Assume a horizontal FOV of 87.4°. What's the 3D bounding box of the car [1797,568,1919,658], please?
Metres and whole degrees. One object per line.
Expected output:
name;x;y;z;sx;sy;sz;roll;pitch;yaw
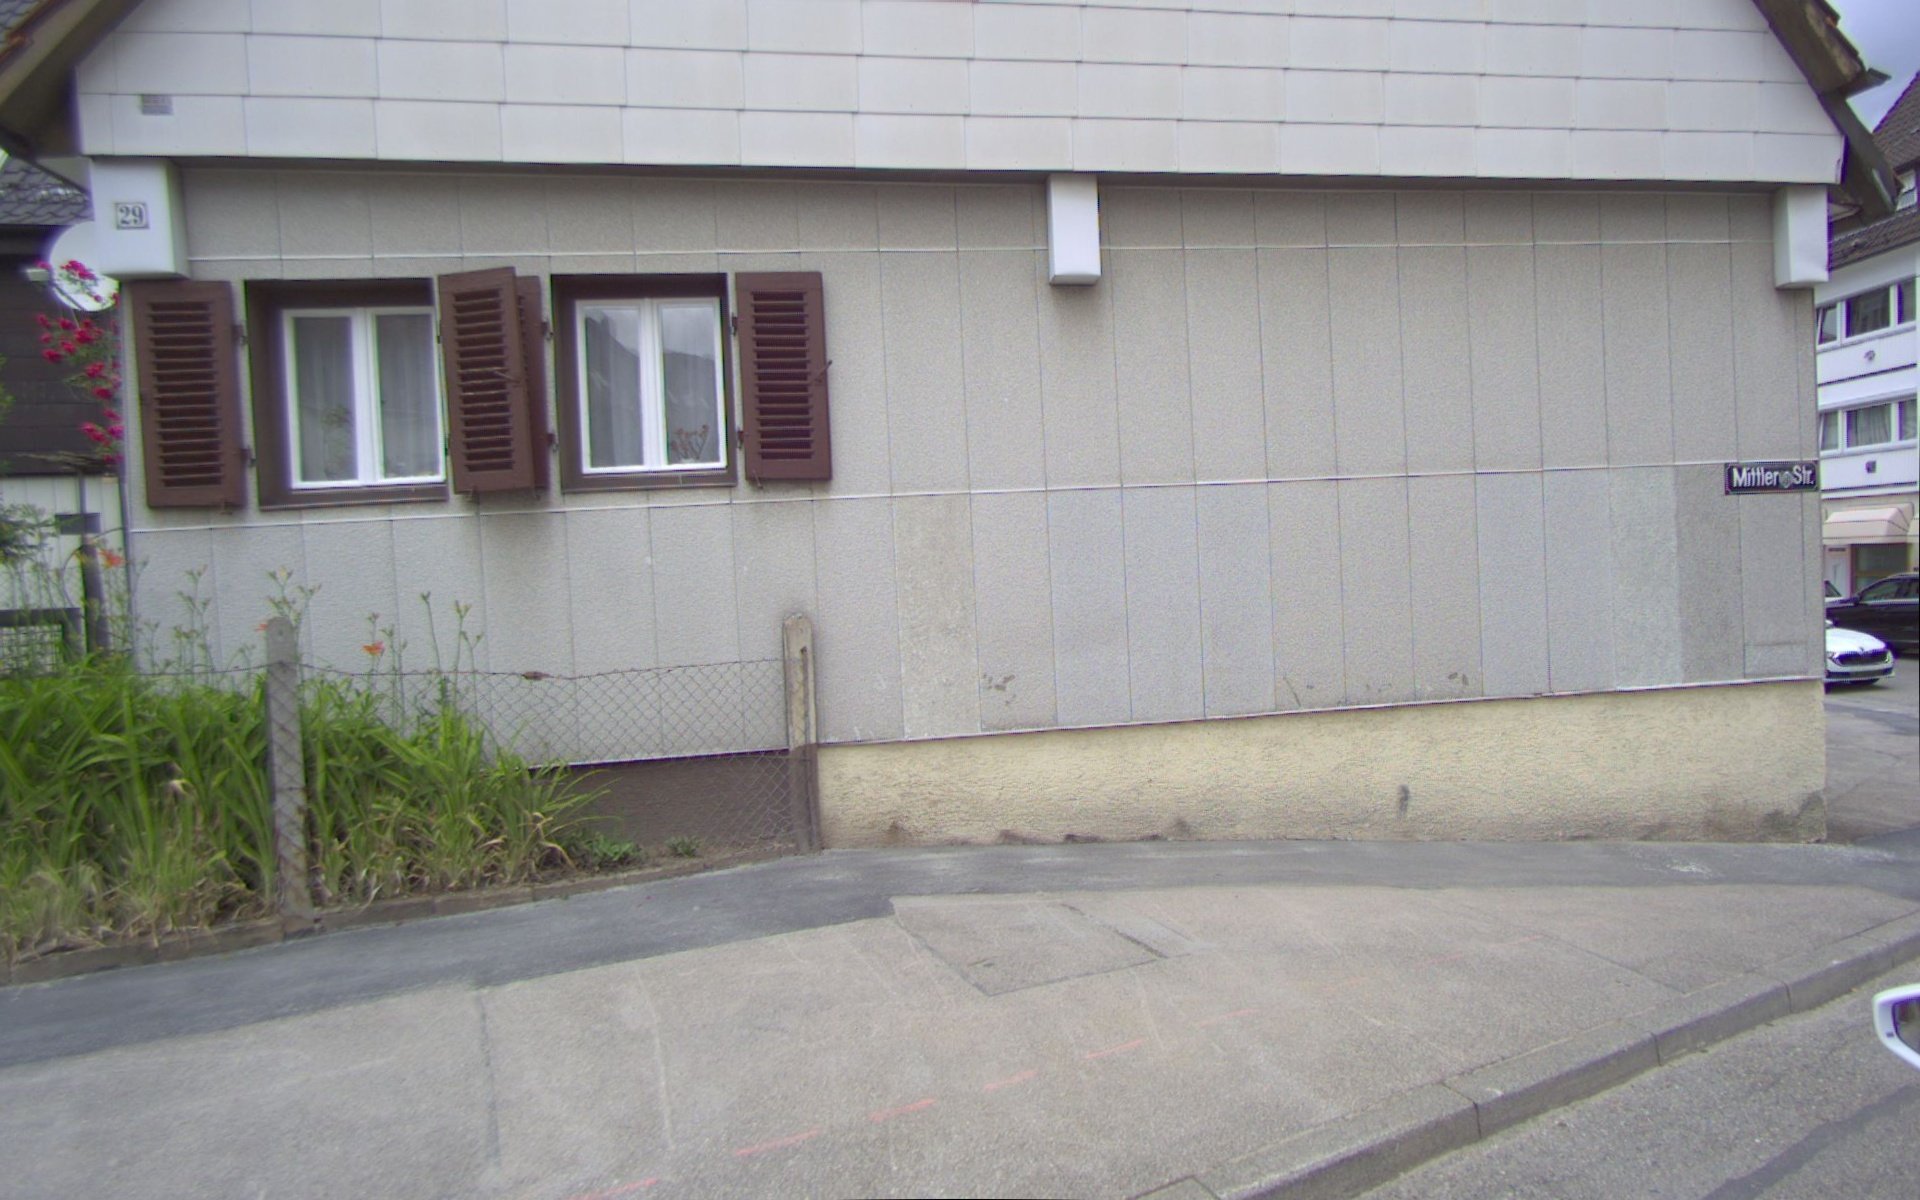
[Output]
car;20.347;0.227;21.105;1.909;1.803;4.368;-1;1;0

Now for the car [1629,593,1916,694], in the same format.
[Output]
car;15.001;0.711;18.915;1.764;1.480;4.294;-5;1;-2

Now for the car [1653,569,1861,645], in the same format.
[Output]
car;20.513;0.098;26.141;1.902;1.735;4.375;-2;2;-1
